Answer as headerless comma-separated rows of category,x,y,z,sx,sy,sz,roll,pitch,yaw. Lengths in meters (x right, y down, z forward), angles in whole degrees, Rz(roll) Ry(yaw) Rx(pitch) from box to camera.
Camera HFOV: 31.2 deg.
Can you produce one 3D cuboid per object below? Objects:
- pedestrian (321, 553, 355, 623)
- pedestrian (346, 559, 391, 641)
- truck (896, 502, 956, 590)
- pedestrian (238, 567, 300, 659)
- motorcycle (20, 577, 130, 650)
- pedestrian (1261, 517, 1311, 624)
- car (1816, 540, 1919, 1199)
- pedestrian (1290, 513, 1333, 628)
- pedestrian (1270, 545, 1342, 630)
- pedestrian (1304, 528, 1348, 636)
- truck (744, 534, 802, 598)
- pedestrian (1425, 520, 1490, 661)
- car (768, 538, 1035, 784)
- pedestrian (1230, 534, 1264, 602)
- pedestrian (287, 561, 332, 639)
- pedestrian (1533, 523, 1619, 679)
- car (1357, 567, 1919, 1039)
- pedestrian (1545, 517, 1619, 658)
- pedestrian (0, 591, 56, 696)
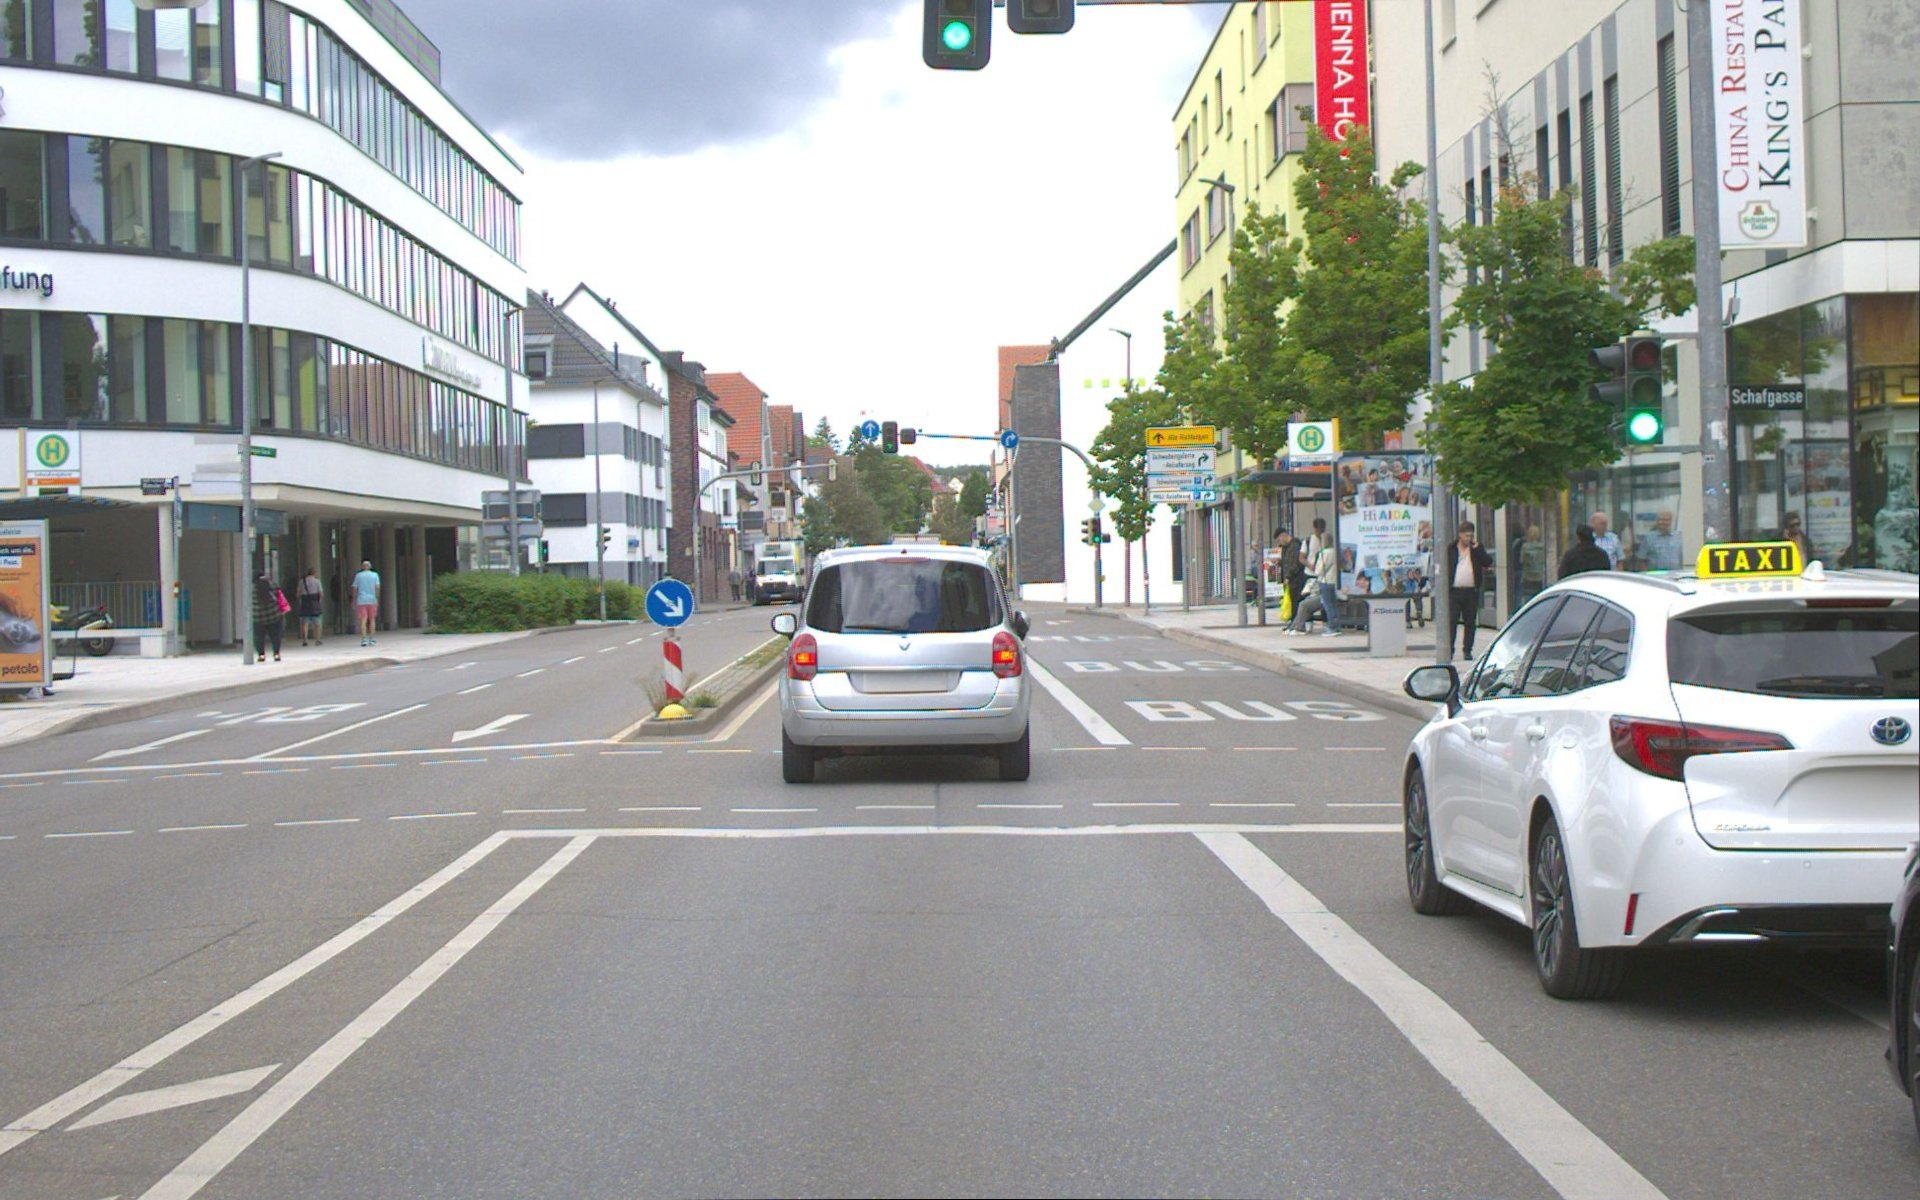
pedestrian,-15.587,-0.305,86.197,0.505,1.724,0.614,-1,0,31
pedestrian,-12.123,-0.014,70.460,0.730,1.668,0.931,0,1,1
truck,-1.505,-2.457,156.676,2.595,3.844,6.849,-1,1,0
pedestrian,-11.749,0.215,58.456,0.830,1.562,0.813,0,1,5
motorcycle,-16.388,0.241,63.679,1.855,1.328,0.636,0,0,3
pedestrian,5.248,-0.476,55.353,0.721,1.678,0.732,-2,0,5
car,3.102,0.652,6.443,1.736,1.536,4.790,0,1,-1
pedestrian,5.505,-0.464,53.873,0.579,1.763,0.856,-2,0,5
pedestrian,5.316,-0.194,52.865,0.942,1.255,0.733,-2,0,-3
pedestrian,5.496,-0.277,51.624,0.579,1.585,0.732,-2,0,5
truck,-8.935,-1.635,165.107,2.435,2.943,8.365,0,1,-1
pedestrian,5.977,-0.117,41.337,0.655,1.663,0.614,-1,1,0
car,-0.404,0.372,24.120,1.706,1.573,4.000,0,1,-1
pedestrian,6.873,-0.770,82.322,0.695,1.588,0.603,-3,1,-1
pedestrian,-13.502,-0.004,71.412,0.730,1.608,0.931,0,1,1
pedestrian,6.488,0.004,36.217,0.740,1.603,0.715,-1,1,0
car,2.695,0.601,12.809,1.782,1.420,4.515,-1,1,-2
pedestrian,7.467,-0.154,41.293,0.744,1.663,0.614,-1,1,0
pedestrian,-11.542,0.532,42.237,0.684,1.249,0.576,-2,1,-2
